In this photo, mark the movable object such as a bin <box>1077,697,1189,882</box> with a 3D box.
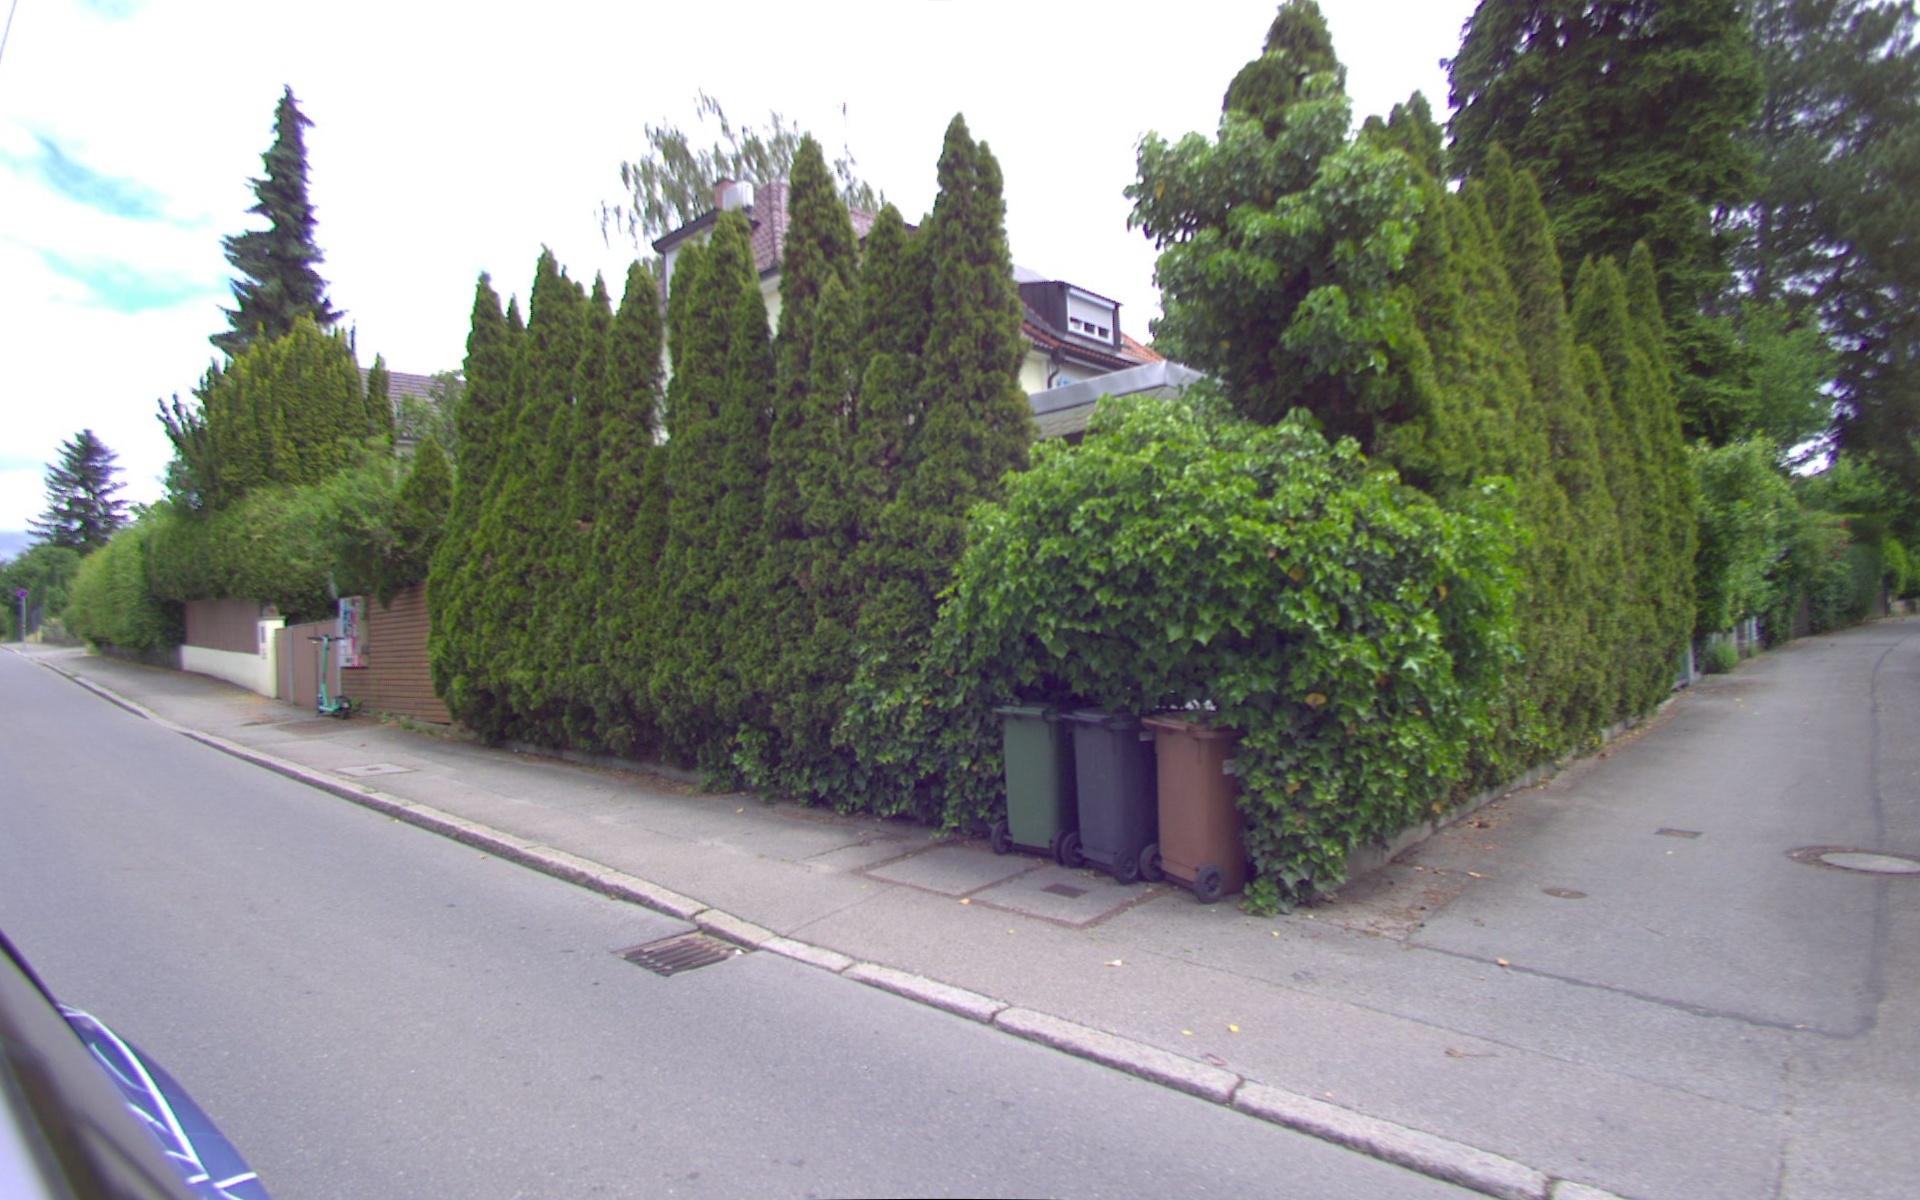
[{"bbox_3d":[0.944,1.010,5.534,0.476,0.900,0.332,-2,0,45],"label":"movable object such as a bin"}]

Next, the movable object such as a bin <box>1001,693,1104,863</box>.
[{"bbox_3d":[0.544,1.025,5.957,0.476,0.900,0.332,-2,0,45],"label":"movable object such as a bin"}]

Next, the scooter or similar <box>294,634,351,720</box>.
[{"bbox_3d":[-9.207,1.085,14.601,1.270,1.180,0.387,-2,-1,43],"label":"scooter or similar"}]

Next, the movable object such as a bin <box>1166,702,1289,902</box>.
[{"bbox_3d":[1.357,1.000,5.146,0.476,0.900,0.332,-2,0,45],"label":"movable object such as a bin"}]
